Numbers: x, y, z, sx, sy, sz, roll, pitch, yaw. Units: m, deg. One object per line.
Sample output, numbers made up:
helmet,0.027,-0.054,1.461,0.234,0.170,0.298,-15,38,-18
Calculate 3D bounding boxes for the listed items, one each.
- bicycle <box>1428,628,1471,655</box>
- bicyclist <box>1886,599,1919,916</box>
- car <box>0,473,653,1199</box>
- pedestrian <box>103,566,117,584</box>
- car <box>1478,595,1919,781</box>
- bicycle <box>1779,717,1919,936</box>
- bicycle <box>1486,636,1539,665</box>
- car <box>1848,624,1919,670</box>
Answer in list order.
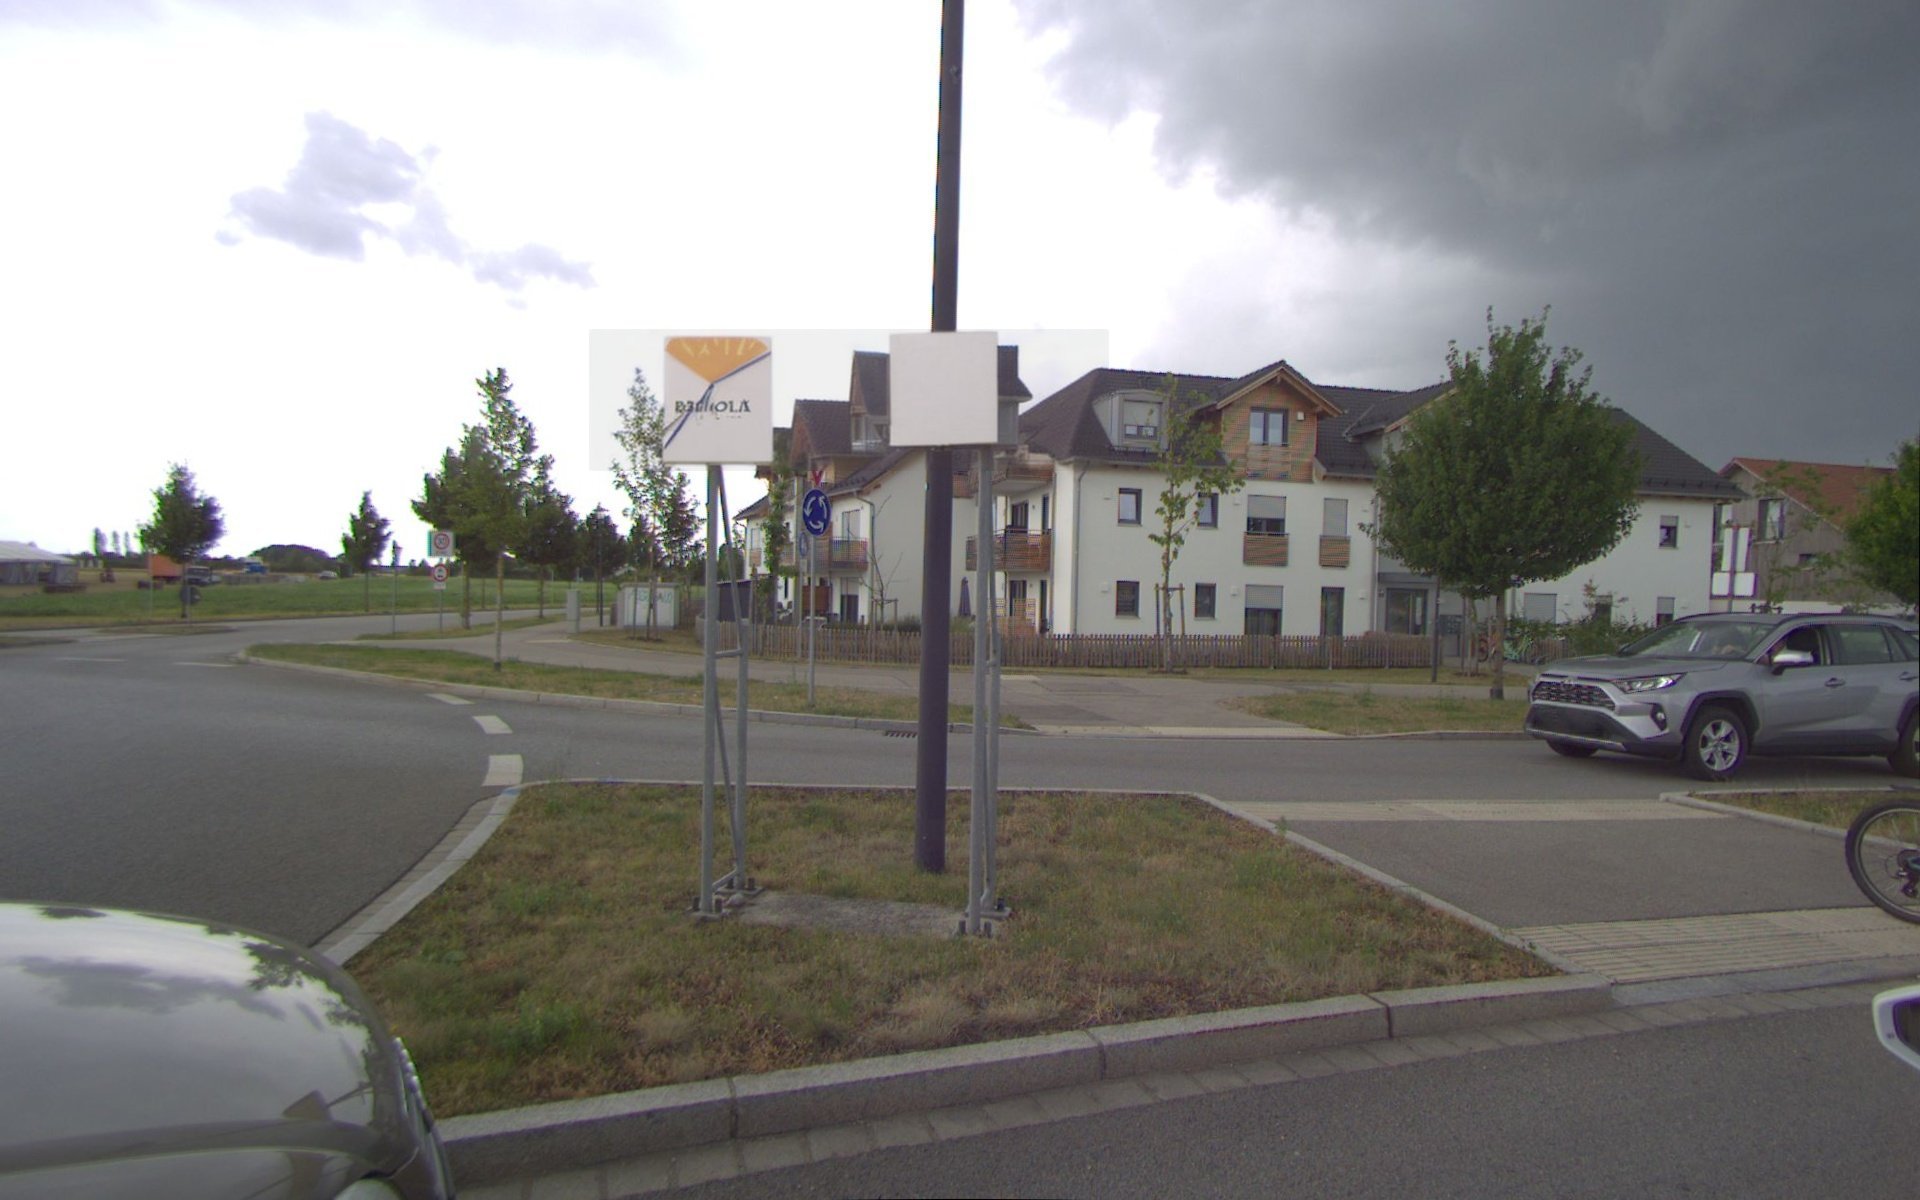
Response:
bicycle,16.516,1.399,33.919,1.314,0.854,0.367,2,3,-12
bicyclist,4.896,0.735,4.506,0.714,1.466,0.864,1,0,-23
car,-2.643,0.593,0.383,4.501,1.485,1.763,1,1,-39
pedestrian,-98.726,-2.932,116.686,1.039,2.041,1.052,1,1,-30
car,8.237,0.877,10.771,4.555,1.726,1.995,2,0,-13
bicycle,4.845,1.105,4.569,0.490,0.959,1.704,2,-1,-23
bicycle,17.245,1.573,31.340,1.520,0.854,0.367,2,3,-12
car,41.132,2.043,43.213,4.384,1.795,1.997,2,1,-9
